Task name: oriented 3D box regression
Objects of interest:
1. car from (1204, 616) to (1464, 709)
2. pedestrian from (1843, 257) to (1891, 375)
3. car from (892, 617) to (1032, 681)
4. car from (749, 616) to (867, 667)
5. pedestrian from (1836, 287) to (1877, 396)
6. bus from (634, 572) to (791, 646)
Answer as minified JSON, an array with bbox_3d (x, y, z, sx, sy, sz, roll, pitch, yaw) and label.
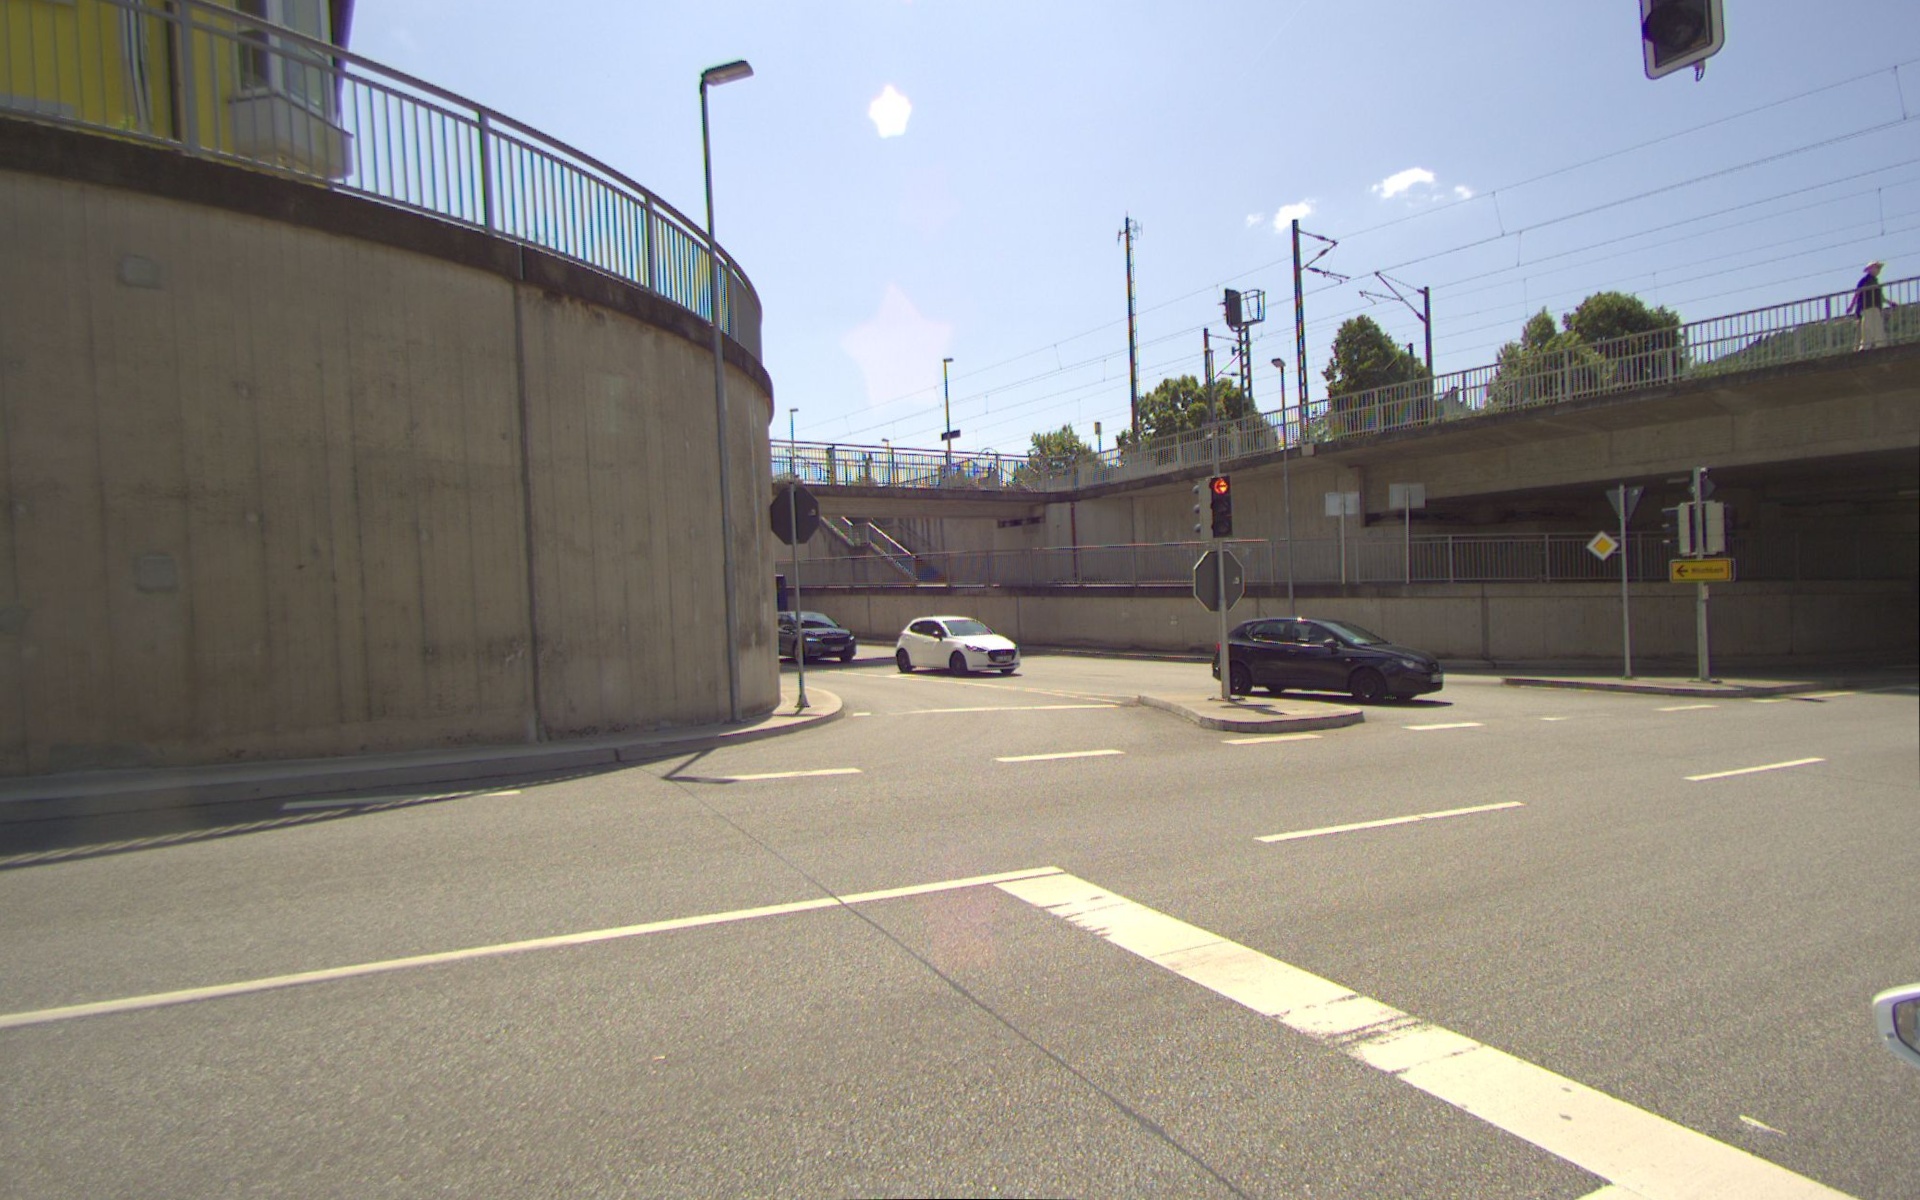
[{"bbox_3d":[6.520,1.012,17.786,1.755,1.393,3.948,-2,1,-44],"label":"car"},{"bbox_3d":[17.972,-5.600,19.909,0.529,2.108,0.572,1,-1,-34],"label":"pedestrian"},{"bbox_3d":[-0.024,1.200,26.092,1.711,1.451,3.871,-2,1,-36],"label":"car"},{"bbox_3d":[-5.016,1.305,32.810,1.983,1.493,4.080,-2,0,-39],"label":"car"},{"bbox_3d":[19.044,-5.464,21.332,0.530,2.108,0.535,1,-1,-36],"label":"pedestrian"},{"bbox_3d":[-12.503,0.421,49.442,2.567,3.215,12.237,-2,1,-39],"label":"bus"}]
